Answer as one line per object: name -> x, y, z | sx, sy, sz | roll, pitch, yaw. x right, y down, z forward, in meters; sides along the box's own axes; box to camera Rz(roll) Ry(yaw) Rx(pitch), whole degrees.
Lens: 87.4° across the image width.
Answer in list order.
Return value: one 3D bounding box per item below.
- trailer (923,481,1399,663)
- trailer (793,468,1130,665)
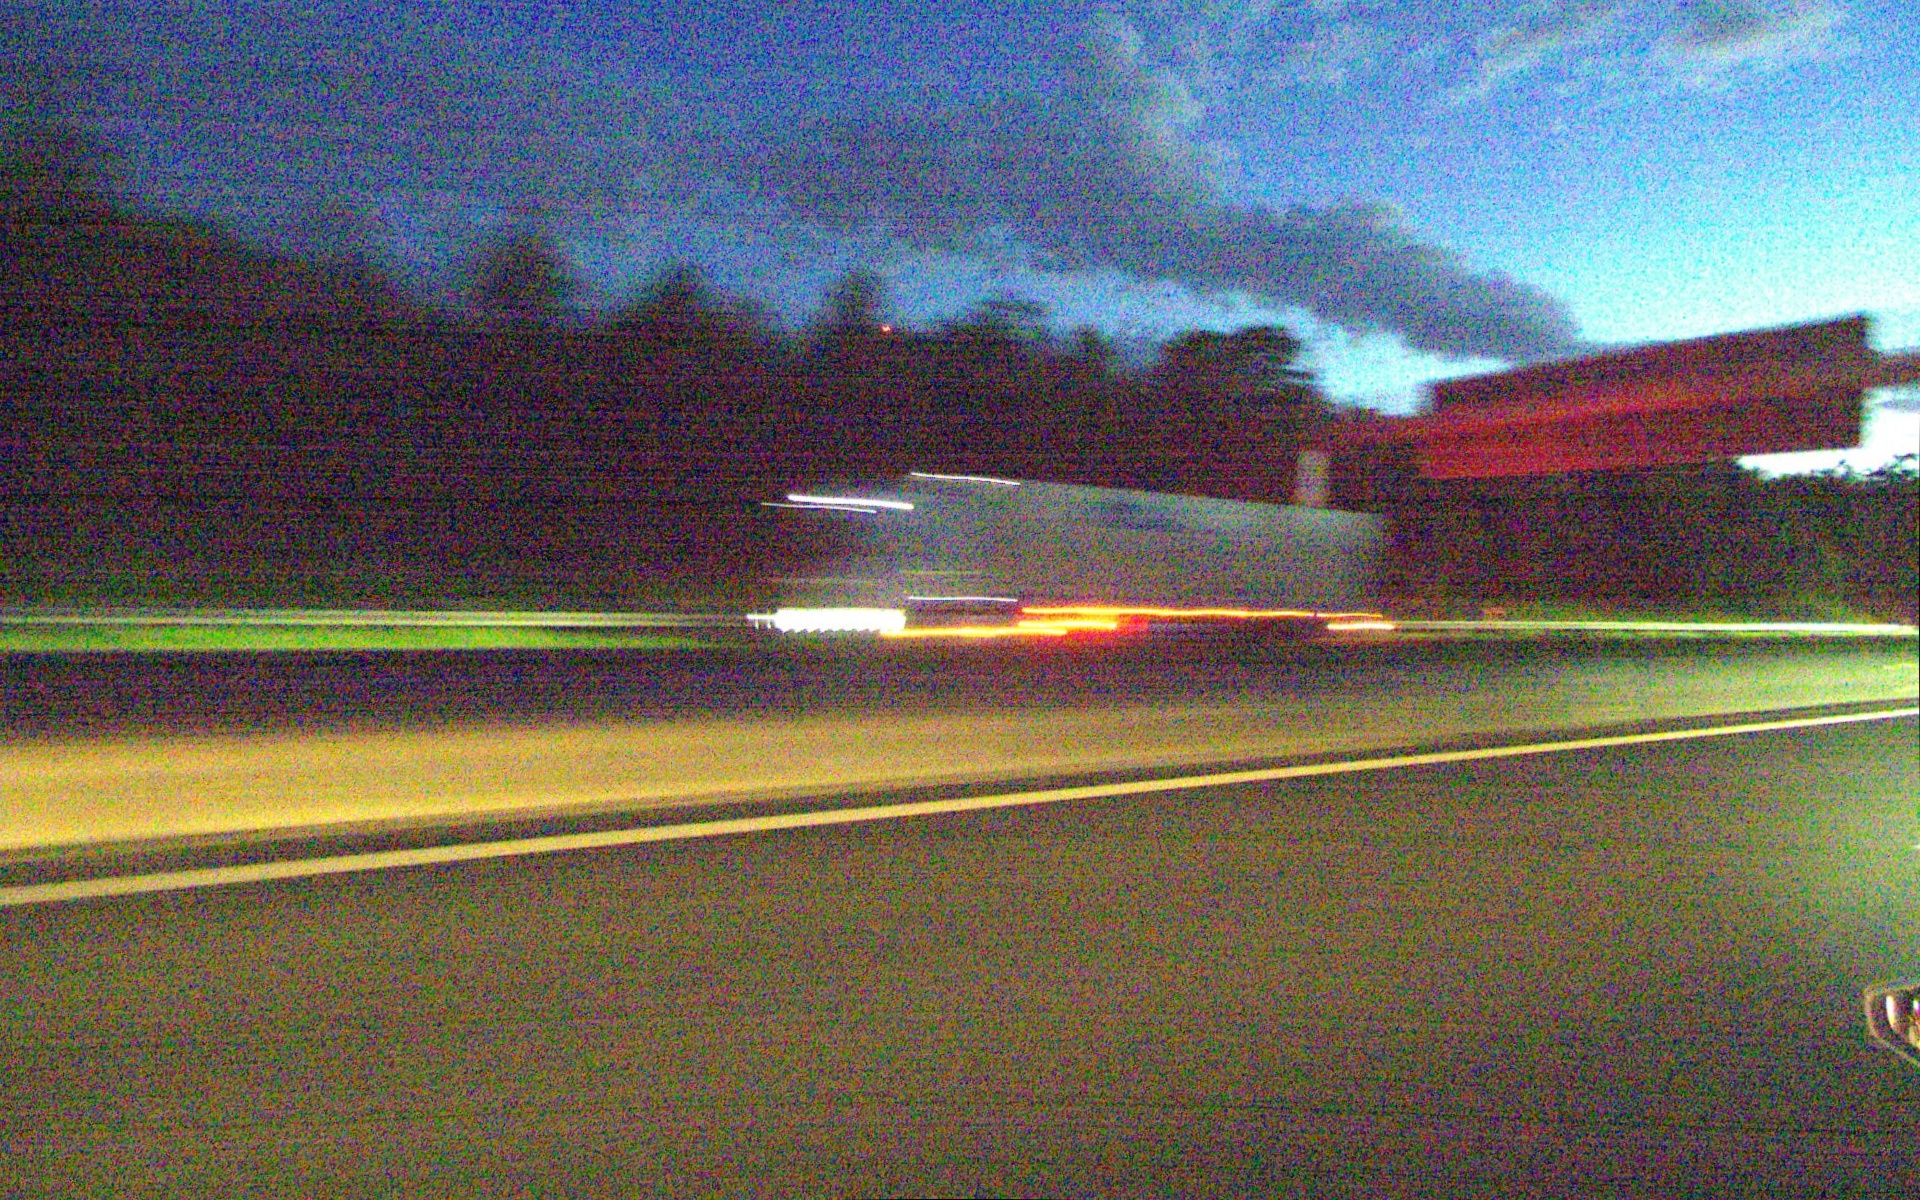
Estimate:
trailer -> 5.932, -0.511, 27.309 | 13.882, 4.033, 3.414 | 1, 0, -30
trailer -> 0.079, -0.645, 23.896 | 7.265, 4.033, 3.414 | 1, 0, -30
